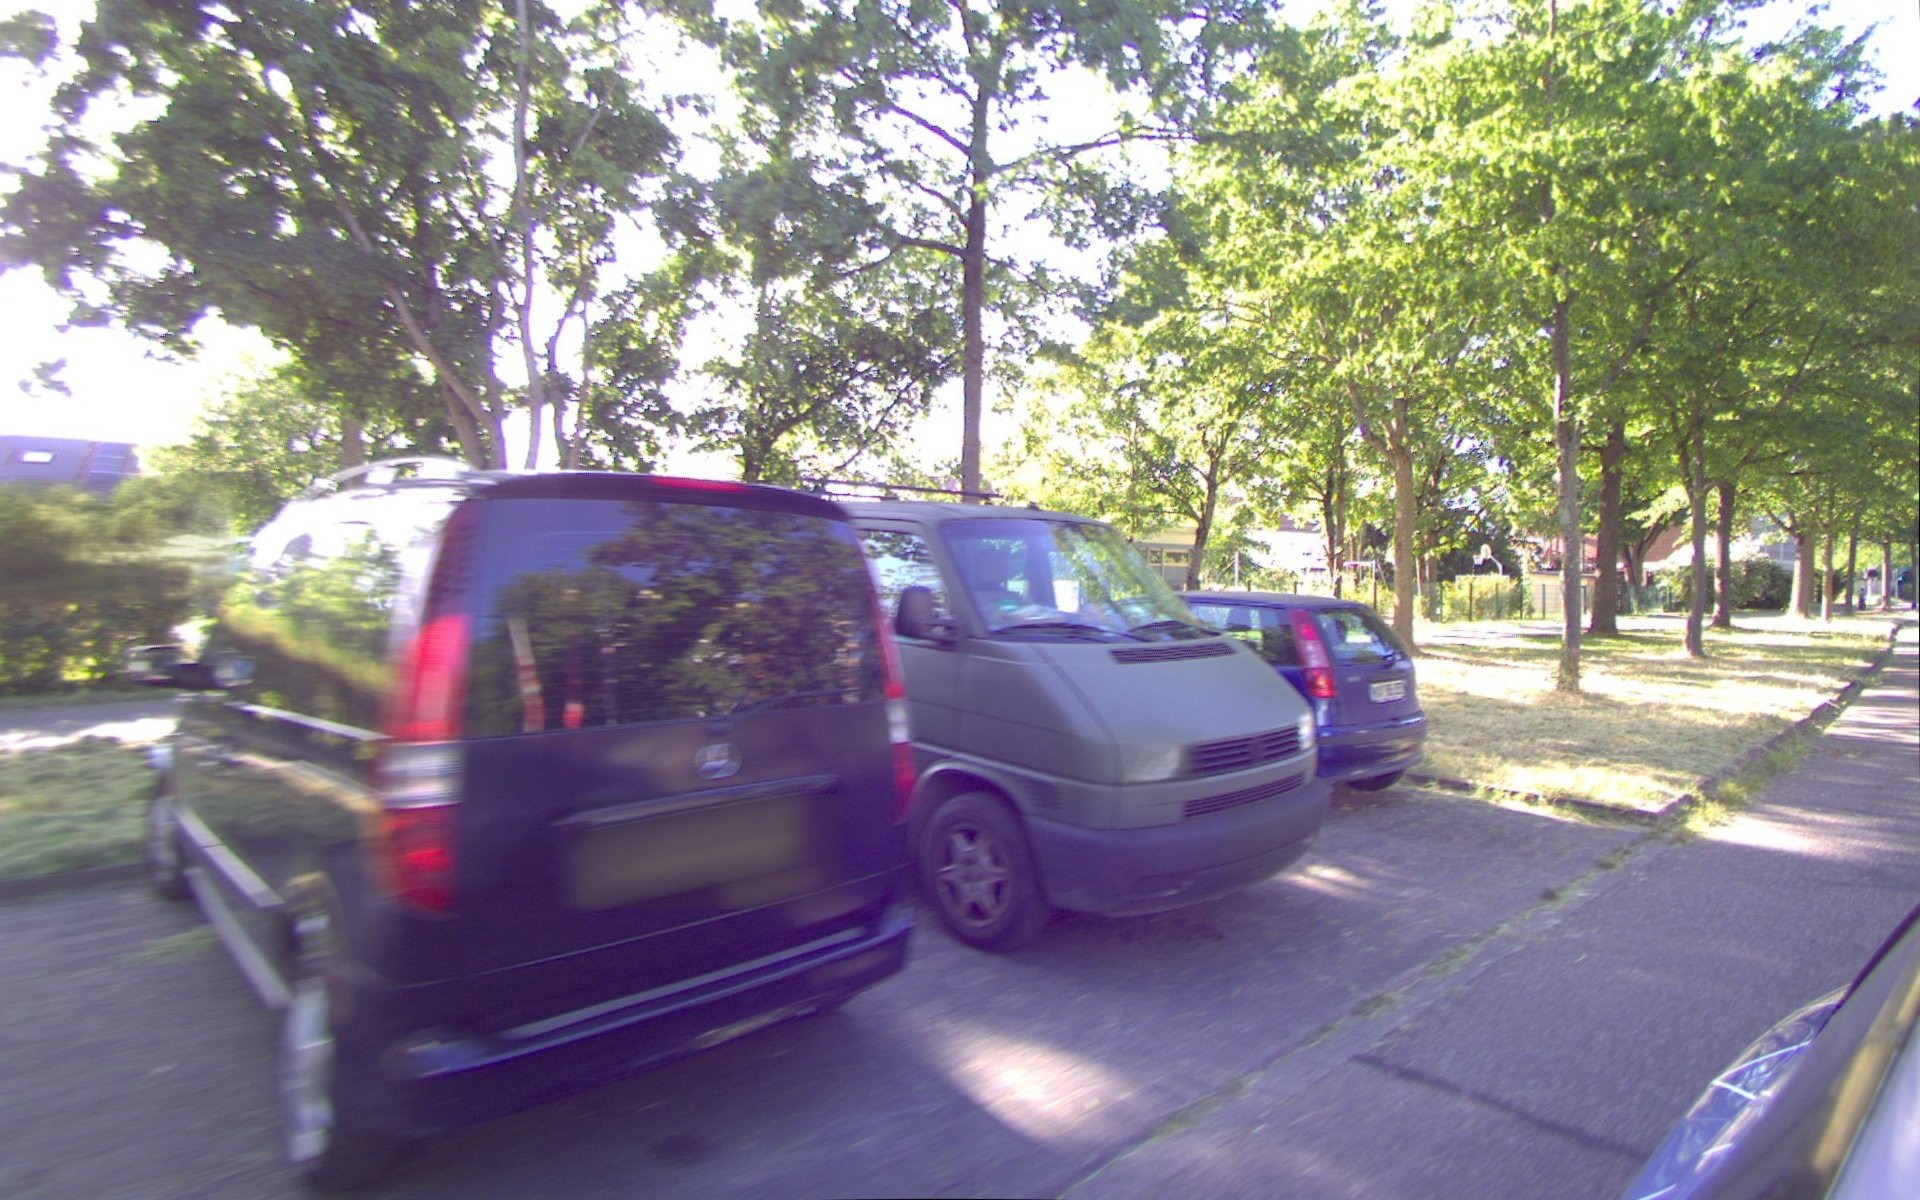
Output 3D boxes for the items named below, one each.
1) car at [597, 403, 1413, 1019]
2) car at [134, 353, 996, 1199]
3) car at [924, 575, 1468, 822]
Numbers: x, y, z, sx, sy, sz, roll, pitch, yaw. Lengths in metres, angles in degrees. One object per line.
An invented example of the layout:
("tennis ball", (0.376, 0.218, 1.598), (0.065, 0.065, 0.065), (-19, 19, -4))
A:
("car", (-0.226, 0.287, 5.825), (1.910, 2.057, 4.812), (-1, 2, -41))
("car", (-1.907, 0.379, 3.958), (1.769, 1.859, 4.014), (-1, 3, -43))
("car", (1.626, 0.534, 8.069), (1.709, 1.420, 3.995), (-1, 2, -41))
